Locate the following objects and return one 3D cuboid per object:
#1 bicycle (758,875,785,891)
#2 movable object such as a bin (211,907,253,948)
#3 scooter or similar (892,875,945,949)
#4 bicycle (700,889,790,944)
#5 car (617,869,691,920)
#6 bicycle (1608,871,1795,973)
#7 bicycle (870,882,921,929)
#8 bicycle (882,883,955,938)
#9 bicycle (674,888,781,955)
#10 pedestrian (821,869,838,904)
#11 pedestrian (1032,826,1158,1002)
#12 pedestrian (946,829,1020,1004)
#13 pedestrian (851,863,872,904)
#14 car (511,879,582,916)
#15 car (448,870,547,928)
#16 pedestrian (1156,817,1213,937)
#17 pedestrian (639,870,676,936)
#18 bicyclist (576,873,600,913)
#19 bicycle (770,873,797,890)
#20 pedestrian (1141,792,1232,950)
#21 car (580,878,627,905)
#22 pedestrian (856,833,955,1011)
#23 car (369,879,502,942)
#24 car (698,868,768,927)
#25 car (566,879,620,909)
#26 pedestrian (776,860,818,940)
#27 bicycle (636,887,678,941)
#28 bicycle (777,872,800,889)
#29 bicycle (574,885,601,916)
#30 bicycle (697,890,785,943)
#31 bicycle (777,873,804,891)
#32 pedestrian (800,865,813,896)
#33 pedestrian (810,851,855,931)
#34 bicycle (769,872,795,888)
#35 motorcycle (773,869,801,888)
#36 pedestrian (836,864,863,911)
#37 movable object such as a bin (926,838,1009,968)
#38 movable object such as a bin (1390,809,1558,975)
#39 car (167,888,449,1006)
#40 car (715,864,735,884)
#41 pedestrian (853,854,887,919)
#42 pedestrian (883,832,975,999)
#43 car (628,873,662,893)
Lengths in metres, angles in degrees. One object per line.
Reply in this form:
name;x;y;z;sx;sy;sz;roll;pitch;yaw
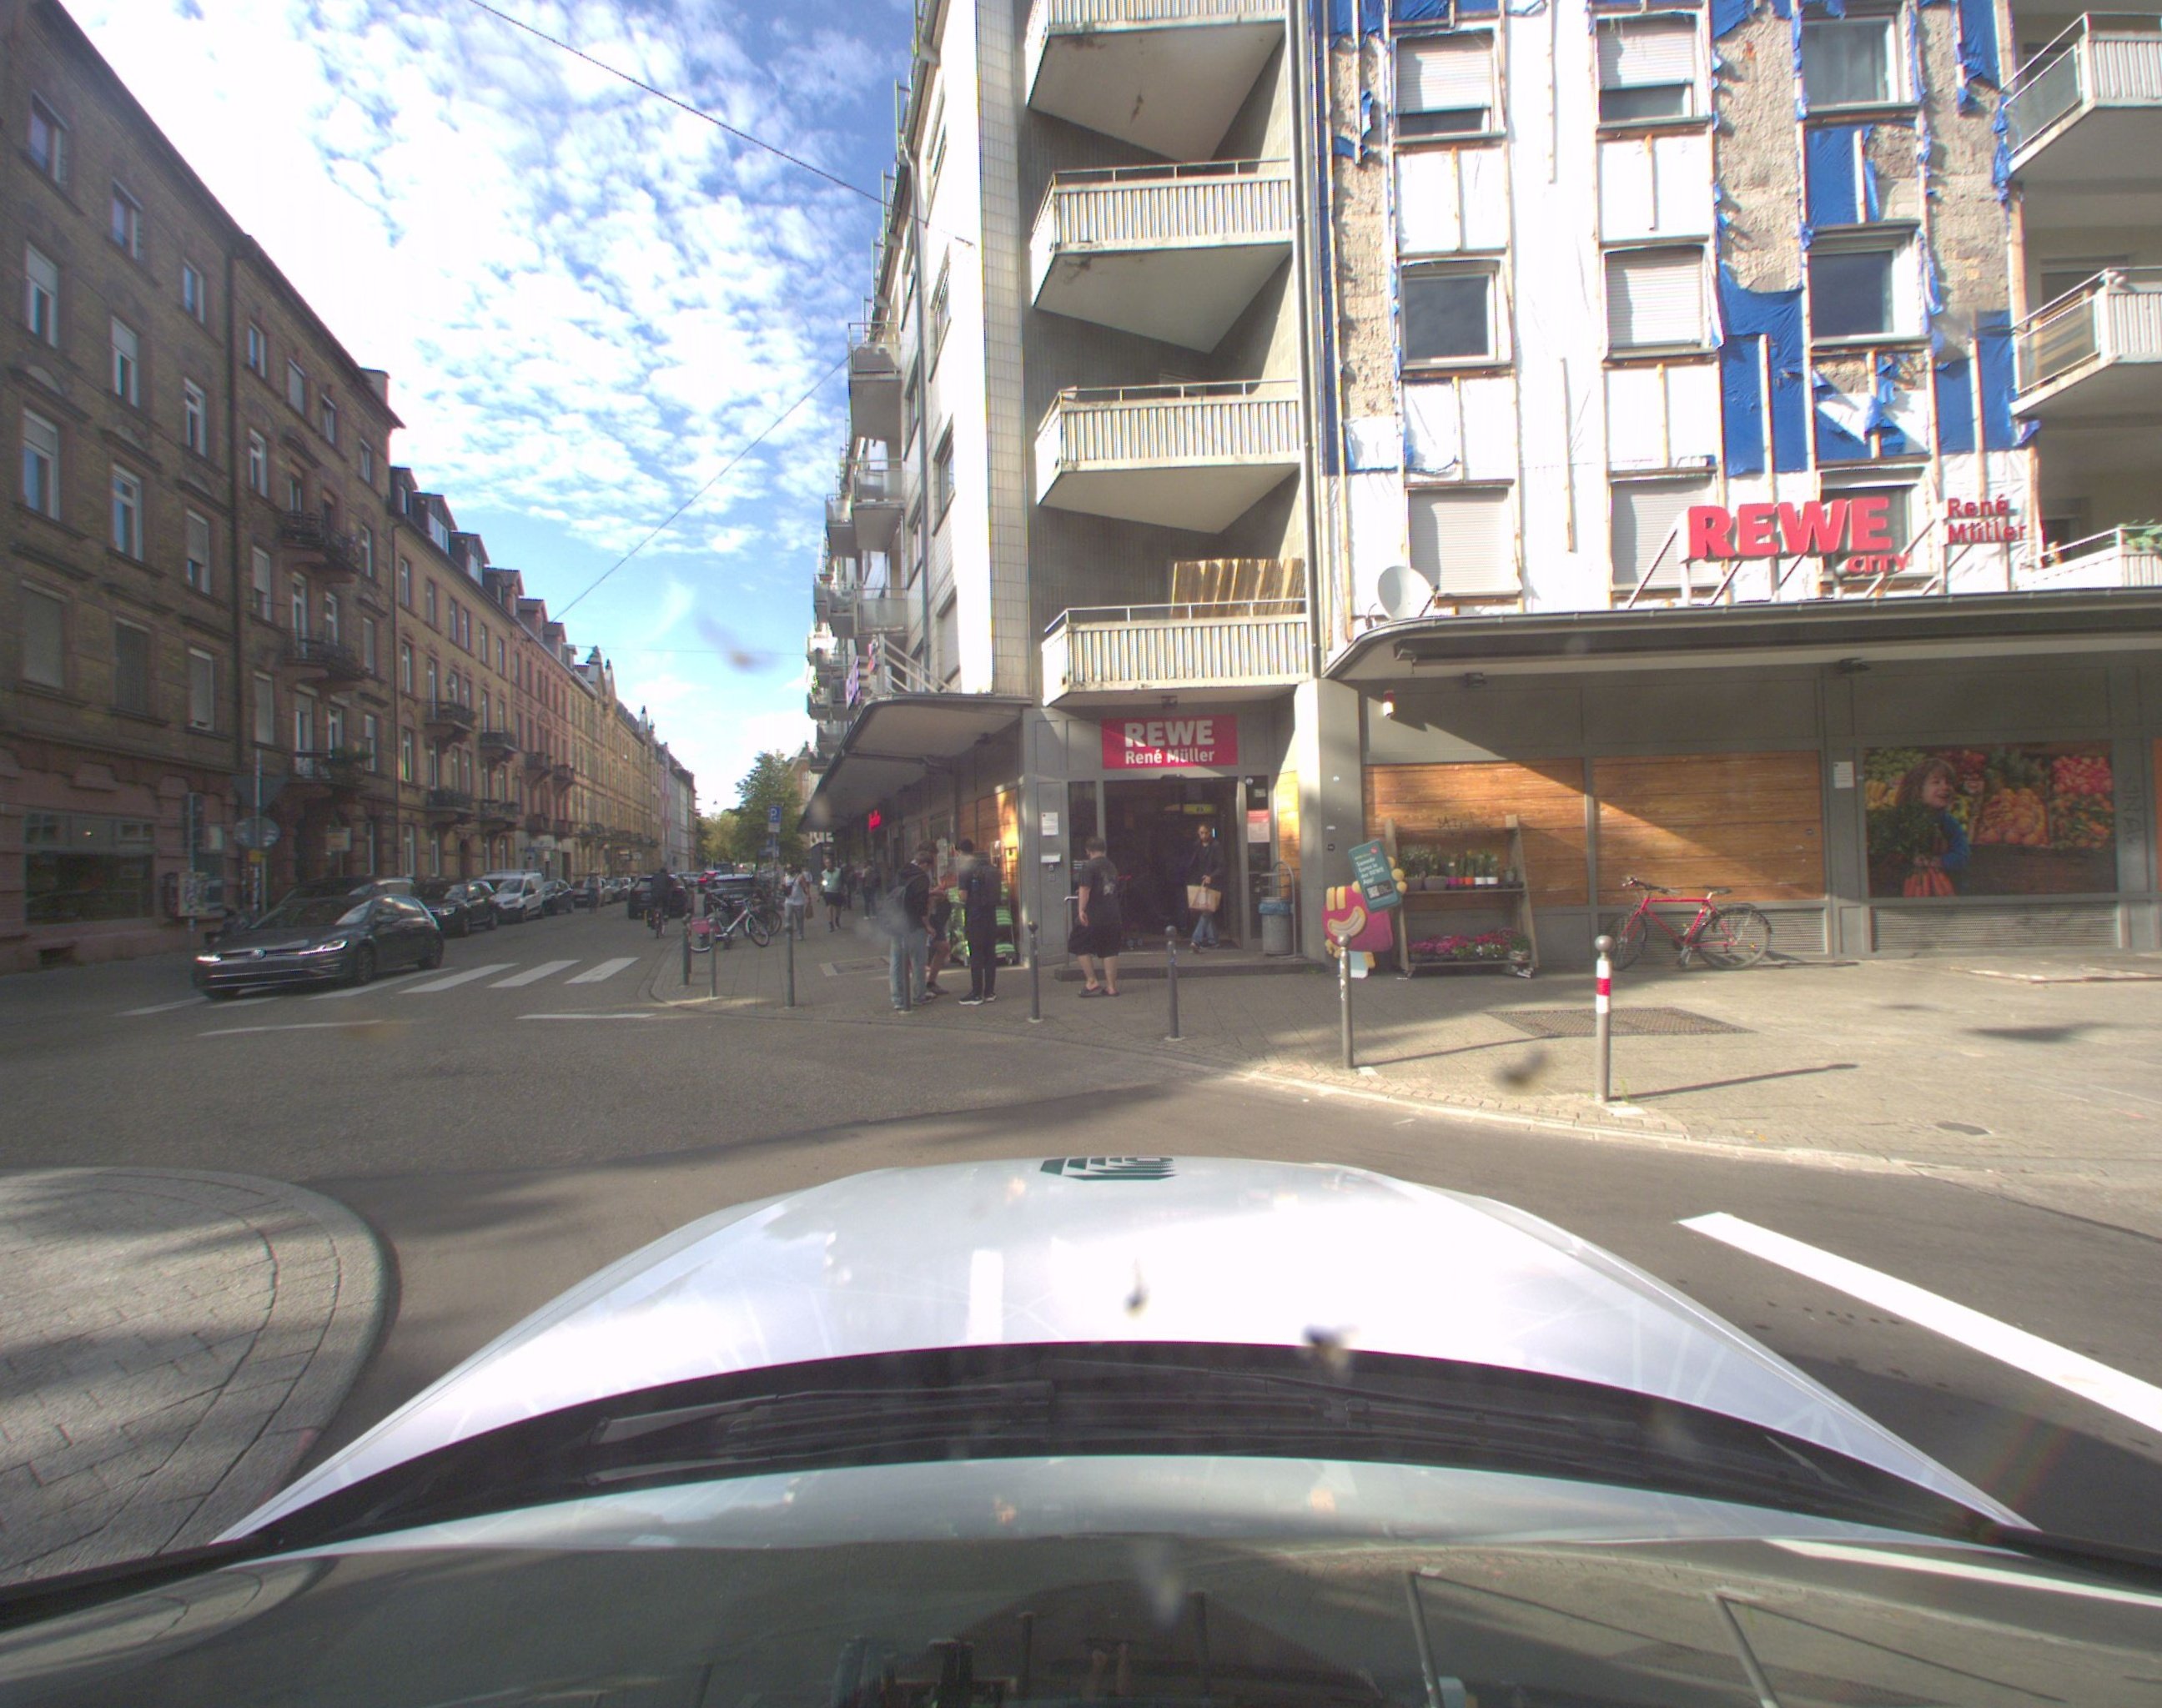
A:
bicycle;-22.540;2.101;59.330;1.775;1.056;0.408;-4;1;-26
movable object such as a bin;-15.489;1.332;14.864;0.385;0.714;0.472;0;-1;-25
scooter or similar;-2.940;1.005;14.660;0.635;1.213;1.246;-4;1;-23
bicycle;-7.728;1.420;18.774;1.800;1.070;0.563;-4;1;-31
car;-15.993;1.477;30.704;1.972;1.741;4.013;-1;-2;-20
bicycle;6.755;0.740;8.937;1.519;1.033;0.585;-2;1;13
bicycle;-4.471;1.212;19.577;0.745;1.015;1.767;-4;0;-26
bicycle;-3.348;1.138;16.662;0.682;1.043;1.713;-2;-2;-41
bicycle;-7.212;1.344;16.678;1.891;1.125;0.900;-4;1;-23
pedestrian;-12.025;1.536;38.904;0.646;1.588;0.775;-3;0;-19
pedestrian;0.133;0.612;8.891;0.855;1.746;1.038;-4;1;-31
pedestrian;-1.079;0.650;8.937;0.653;1.797;0.657;-4;1;-8
pedestrian;-10.091;1.335;37.404;0.703;1.860;0.646;-2;-1;8
car;-22.831;1.845;34.943;1.748;1.484;3.953;1;-2;-22
car;-21.142;1.557;29.722;1.927;1.871;4.404;-1;0;-22
pedestrian;1.582;0.342;12.571;0.760;1.753;0.931;-2;0;2
pedestrian;-11.003;1.256;21.191;0.720;1.650;0.924;0;-1;-20
bicyclist;-21.160;1.671;34.956;0.704;1.678;1.104;0;-1;-23
bicycle;-21.979;2.028;60.236;1.771;1.087;0.646;-4;1;-19
pedestrian;1.439;0.223;10.962;1.023;2.013;0.867;-2;1;15
car;-28.112;2.161;48.054;1.748;1.483;3.955;0;-1;-21
pedestrian;-1.867;0.703;8.732;0.625;1.797;0.718;-4;2;20
car;-19.089;1.600;24.311;2.001;1.638;4.114;0;-1;-22
car;-11.240;1.345;26.539;1.799;1.605;3.897;-4;1;-20
car;-25.935;2.093;43.397;1.748;1.483;3.955;0;-1;-21
pedestrian;-6.241;0.987;17.883;0.805;1.671;1.015;-2;-2;-21
bicycle;-10.977;1.529;21.128;0.720;1.274;1.871;0;-1;-20
bicycle;-21.937;1.976;61.089;1.501;1.146;0.408;-4;1;-21
bicycle;-21.174;1.980;34.997;0.703;1.220;2.100;0;-1;-23
bicycle;-8.055;1.459;19.331;1.800;1.070;0.581;-4;1;-31
bicycle;-21.202;2.013;59.424;1.771;1.162;0.646;-4;1;-19
pedestrian;-16.070;1.538;47.677;0.614;1.726;1.119;-2;0;-20
pedestrian;-6.063;0.889;19.930;0.885;1.834;1.042;-4;0;-13
bicycle;-23.912;2.069;65.173;1.786;1.159;0.501;-3;1;4
motorcycle;-25.579;2.120;70.830;2.155;1.530;0.682;-4;1;-17
pedestrian;-8.035;1.143;28.286;0.826;1.588;0.775;-2;-1;-19
movable object such as a bin;-1.764;0.680;12.271;0.782;1.744;2.408;-2;-1;-18
movable object such as a bin;4.381;0.404;9.145;1.539;1.754;0.691;-2;1;1
car;-12.103;1.345;13.150;1.798;1.438;3.972;-3;-1;-20
car;-37.660;2.085;86.100;1.789;2.020;3.859;0;-1;-22
pedestrian;-5.969;0.893;22.996;0.717;1.746;0.811;-4;1;-23
pedestrian;-1.713;0.677;9.278;0.708;1.797;0.634;-4;2;12
car;-32.162;2.118;60.141;1.696;1.386;3.841;0;0;-20
